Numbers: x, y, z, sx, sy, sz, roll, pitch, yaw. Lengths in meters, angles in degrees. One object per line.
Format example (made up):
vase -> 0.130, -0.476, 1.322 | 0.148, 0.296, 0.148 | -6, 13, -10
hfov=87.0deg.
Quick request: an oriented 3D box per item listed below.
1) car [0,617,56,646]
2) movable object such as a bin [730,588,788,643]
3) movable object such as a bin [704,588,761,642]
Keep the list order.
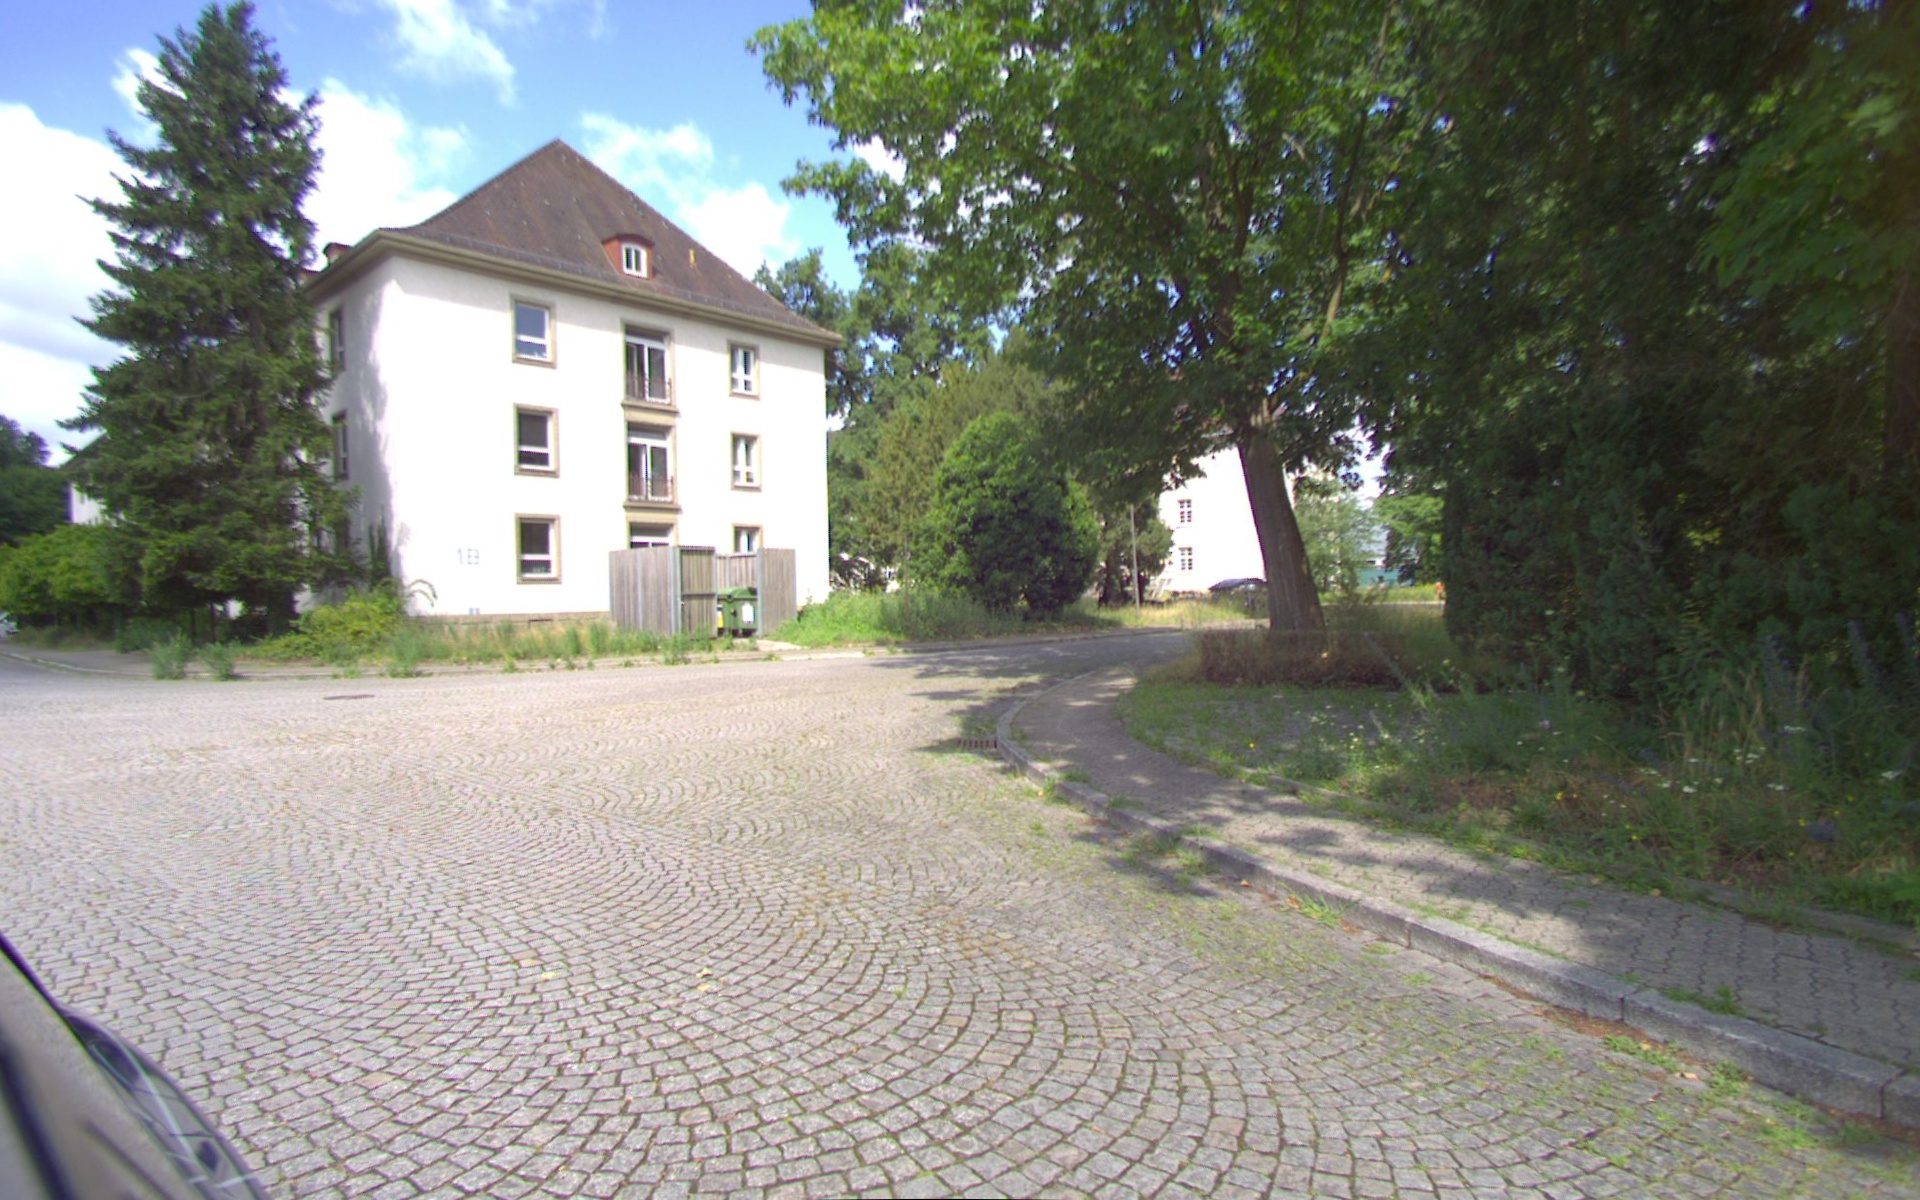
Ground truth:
car -> -57.847, 1.902, 61.571 | 1.766, 1.655, 4.031 | -1, 0, 41
movable object such as a bin -> -5.725, 0.429, 28.817 | 1.152, 1.542, 1.158 | -1, 0, 39
movable object such as a bin -> -6.641, 0.429, 29.580 | 1.152, 1.542, 1.158 | -1, 0, 39
